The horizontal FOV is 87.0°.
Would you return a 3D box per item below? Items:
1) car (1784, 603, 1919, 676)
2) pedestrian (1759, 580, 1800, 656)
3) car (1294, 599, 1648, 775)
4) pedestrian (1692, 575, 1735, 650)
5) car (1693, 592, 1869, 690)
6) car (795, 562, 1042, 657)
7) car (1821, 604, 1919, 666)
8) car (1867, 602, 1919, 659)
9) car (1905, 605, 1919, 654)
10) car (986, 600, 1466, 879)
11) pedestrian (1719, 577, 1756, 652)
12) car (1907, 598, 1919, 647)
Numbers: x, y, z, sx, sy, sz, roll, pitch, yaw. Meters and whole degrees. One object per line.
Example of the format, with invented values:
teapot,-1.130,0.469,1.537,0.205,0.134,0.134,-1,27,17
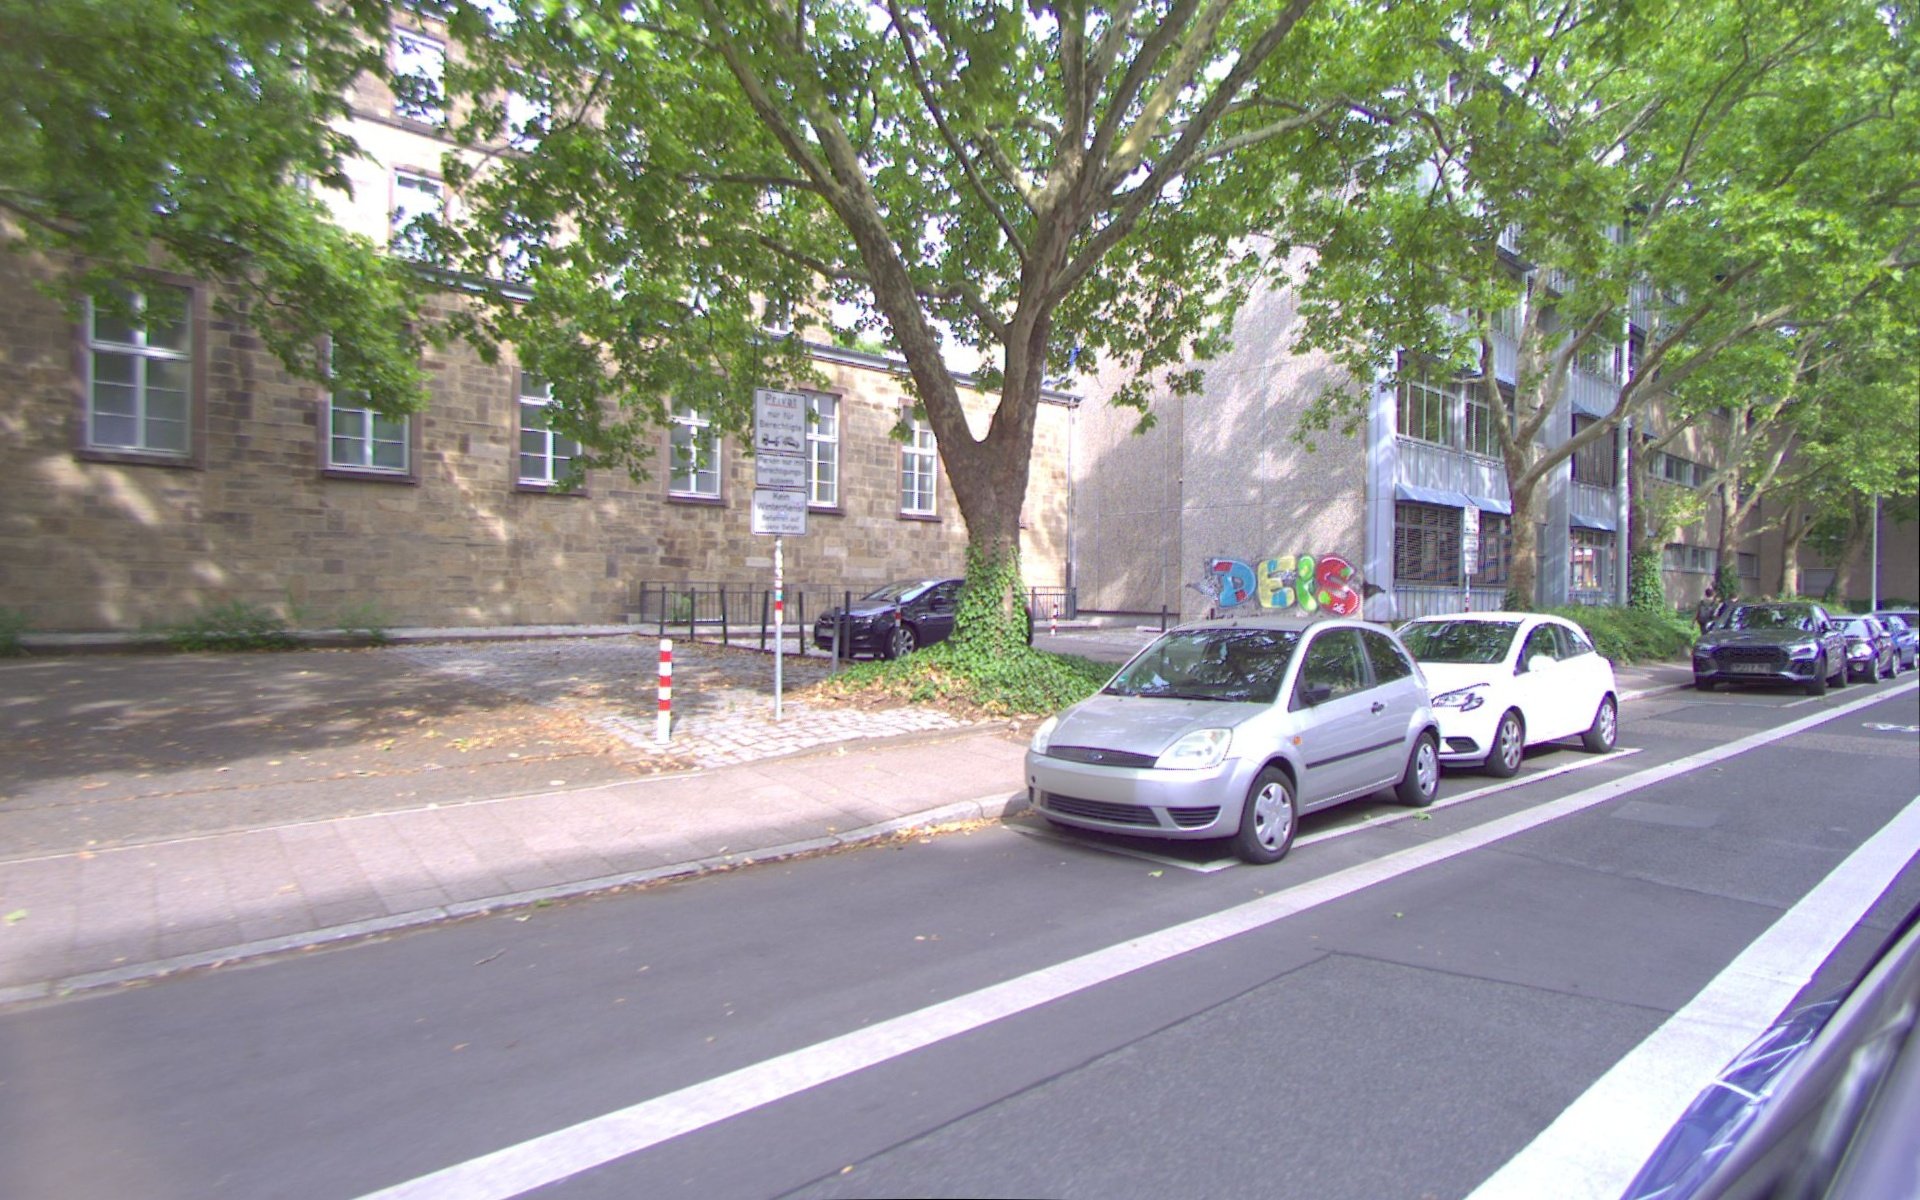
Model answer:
car,19.768,0.804,22.319,4.492,1.451,1.642,0,-1,-40
pedestrian,20.082,0.422,24.798,0.468,1.806,0.592,0,4,-41
car,5.386,0.734,10.448,4.143,1.466,1.757,0,-1,-40
pedestrian,19.210,0.309,25.794,0.634,1.855,0.643,0,4,-41
car,15.597,0.698,19.149,4.404,1.642,1.923,0,-1,-42
car,-0.631,0.206,17.750,4.223,1.468,1.671,3,-1,-42
car,22.971,0.827,25.270,3.886,1.441,1.601,0,-1,-40
car,27.173,0.808,28.653,4.362,1.524,1.601,0,-1,-40
car,31.148,0.899,31.846,4.032,1.465,1.601,0,-1,-40
car,2.095,0.749,7.289,1.643,1.466,3.819,-1,-1,45
pedestrian,19.389,0.351,25.238,0.518,1.806,0.502,0,4,-41
car,35.070,0.772,35.926,3.730,1.686,1.650,0,-1,-40
